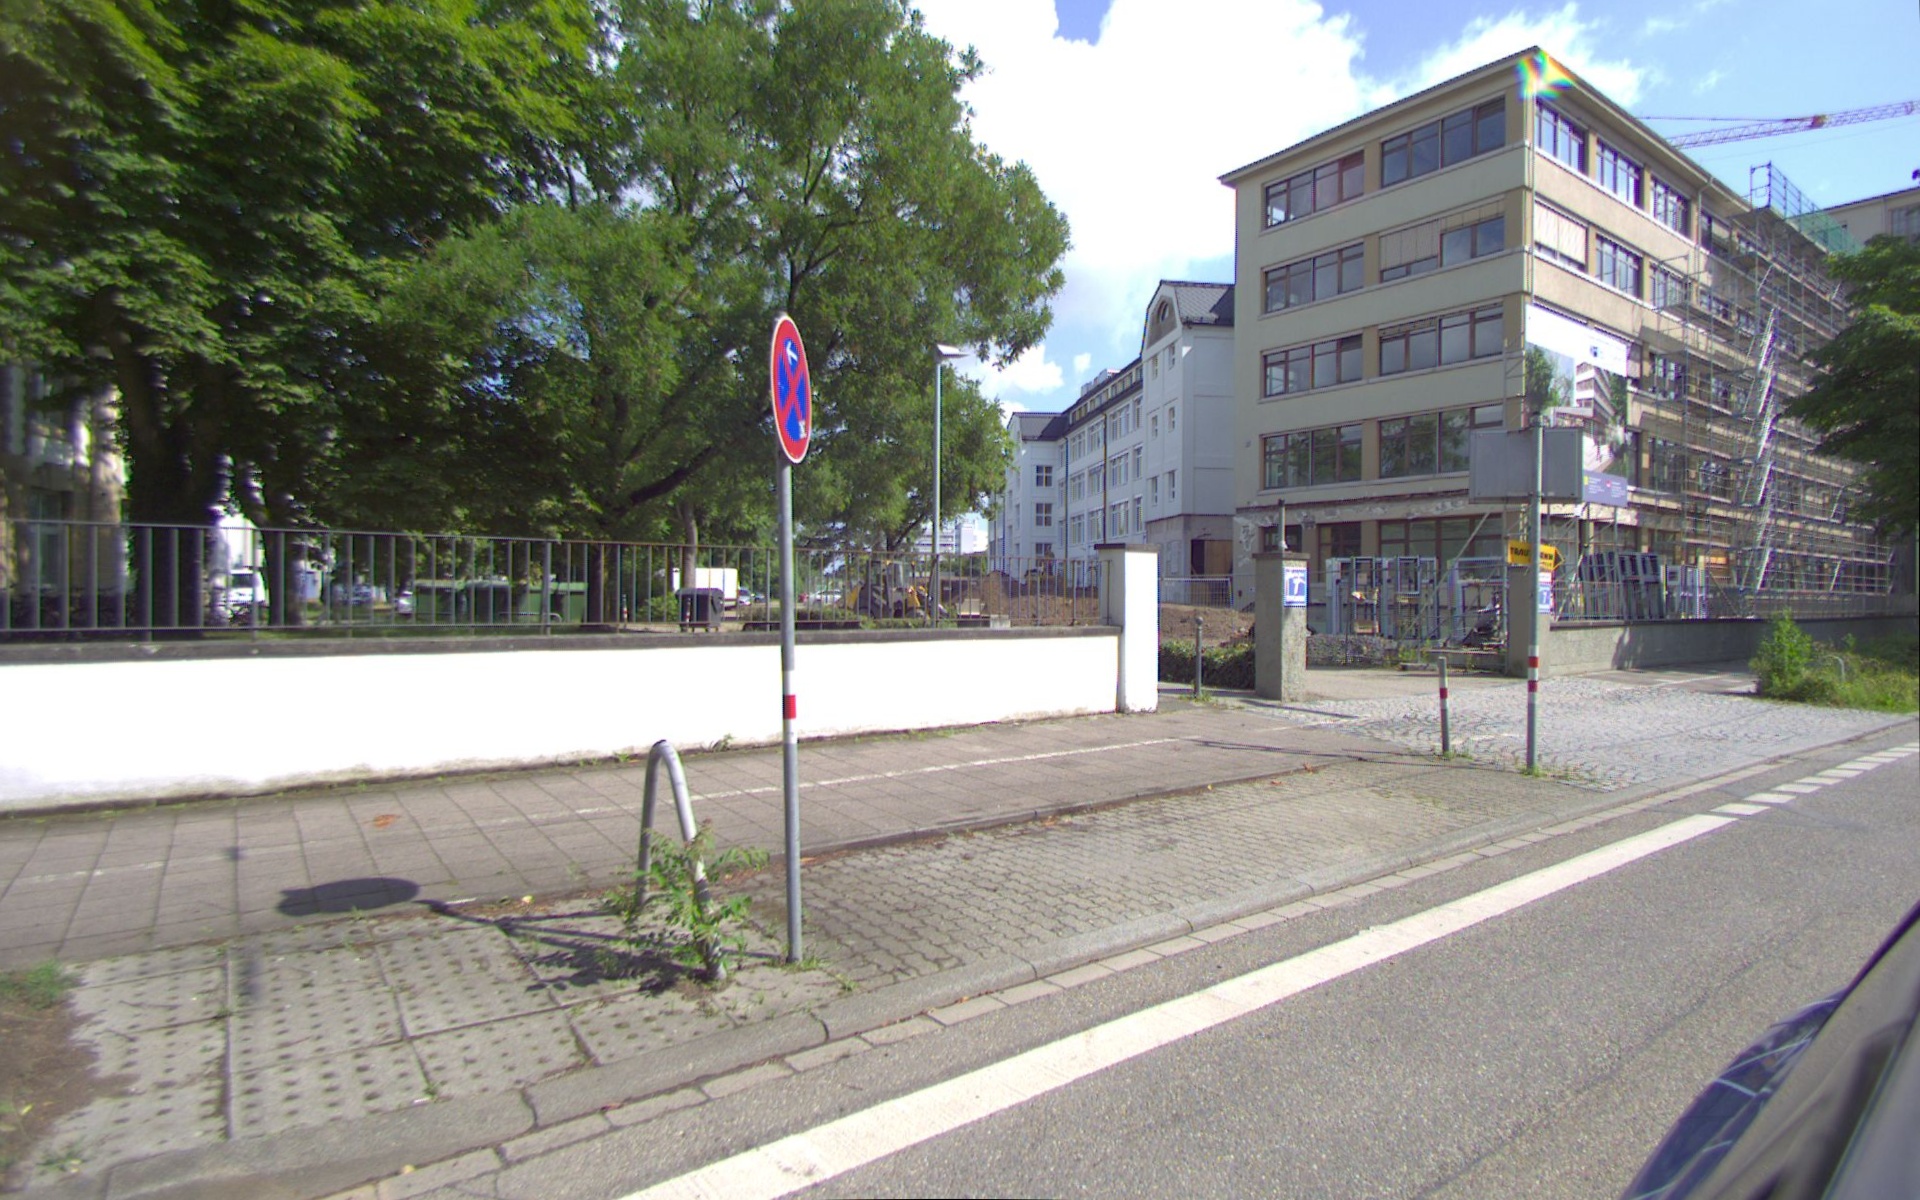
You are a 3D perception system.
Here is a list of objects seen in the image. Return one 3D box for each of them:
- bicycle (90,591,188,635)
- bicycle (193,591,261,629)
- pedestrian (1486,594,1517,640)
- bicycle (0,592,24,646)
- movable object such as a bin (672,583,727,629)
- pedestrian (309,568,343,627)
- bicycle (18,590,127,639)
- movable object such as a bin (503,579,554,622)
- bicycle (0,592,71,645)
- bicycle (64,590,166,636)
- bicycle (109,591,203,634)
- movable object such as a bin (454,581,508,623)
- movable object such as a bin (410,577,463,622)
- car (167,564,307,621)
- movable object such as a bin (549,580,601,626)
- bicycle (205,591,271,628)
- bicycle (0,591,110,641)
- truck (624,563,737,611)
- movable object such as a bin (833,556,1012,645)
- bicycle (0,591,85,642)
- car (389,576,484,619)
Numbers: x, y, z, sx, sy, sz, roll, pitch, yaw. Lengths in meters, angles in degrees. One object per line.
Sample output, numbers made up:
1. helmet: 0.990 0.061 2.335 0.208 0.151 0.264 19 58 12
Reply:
1. bicycle: -19.412 0.306 23.954 1.783 1.000 0.428 1 -1 -10
2. bicycle: -19.972 0.275 27.596 1.428 1.000 0.428 1 -1 -8
3. pedestrian: 16.323 0.507 30.524 0.453 1.329 0.636 -3 0 -19
4. bicycle: -18.488 0.335 18.700 1.783 1.000 0.428 1 -1 -10
5. movable object such as a bin: -8.041 0.180 31.299 1.302 1.374 1.127 1 1 10
6. pedestrian: -17.792 -0.076 28.413 0.558 1.644 0.860 0 0 -12
7. bicycle: -19.067 0.316 21.770 1.783 1.000 0.428 1 -1 -10
8. movable object such as a bin: -13.176 0.007 30.938 1.230 1.281 1.002 1 1 -12
9. bicycle: -18.563 0.353 19.800 1.783 1.000 0.428 1 -1 -10
10. bicycle: -19.178 0.304 22.993 1.783 1.000 0.428 1 -1 -10
11. bicycle: -19.565 0.306 24.662 1.783 1.000 0.428 1 -1 -10
12. movable object such as a bin: -14.533 0.041 30.746 1.247 1.235 1.030 1 1 -12
13. movable object such as a bin: -15.862 -0.024 30.686 1.166 1.309 1.005 1 1 -12
14. car: -27.905 -0.294 39.304 1.999 1.886 5.097 5 0 -5
15. movable object such as a bin: -11.868 0.078 31.264 1.338 1.369 1.096 1 1 -12
16. bicycle: -20.101 0.276 28.196 1.428 1.000 0.428 1 -1 -10
17. bicycle: -18.859 0.332 21.056 1.783 1.000 0.428 1 -1 -10
18. truck: -16.979 -0.776 61.595 6.421 2.812 2.004 0 1 -23
19. movable object such as a bin: -1.219 -0.032 31.375 5.399 2.474 1.974 3 0 35
20. bicycle: -18.738 0.327 20.317 1.783 1.000 0.428 1 -1 -10
21. car: -19.866 -0.115 38.647 1.773 1.516 5.101 0 0 -10
